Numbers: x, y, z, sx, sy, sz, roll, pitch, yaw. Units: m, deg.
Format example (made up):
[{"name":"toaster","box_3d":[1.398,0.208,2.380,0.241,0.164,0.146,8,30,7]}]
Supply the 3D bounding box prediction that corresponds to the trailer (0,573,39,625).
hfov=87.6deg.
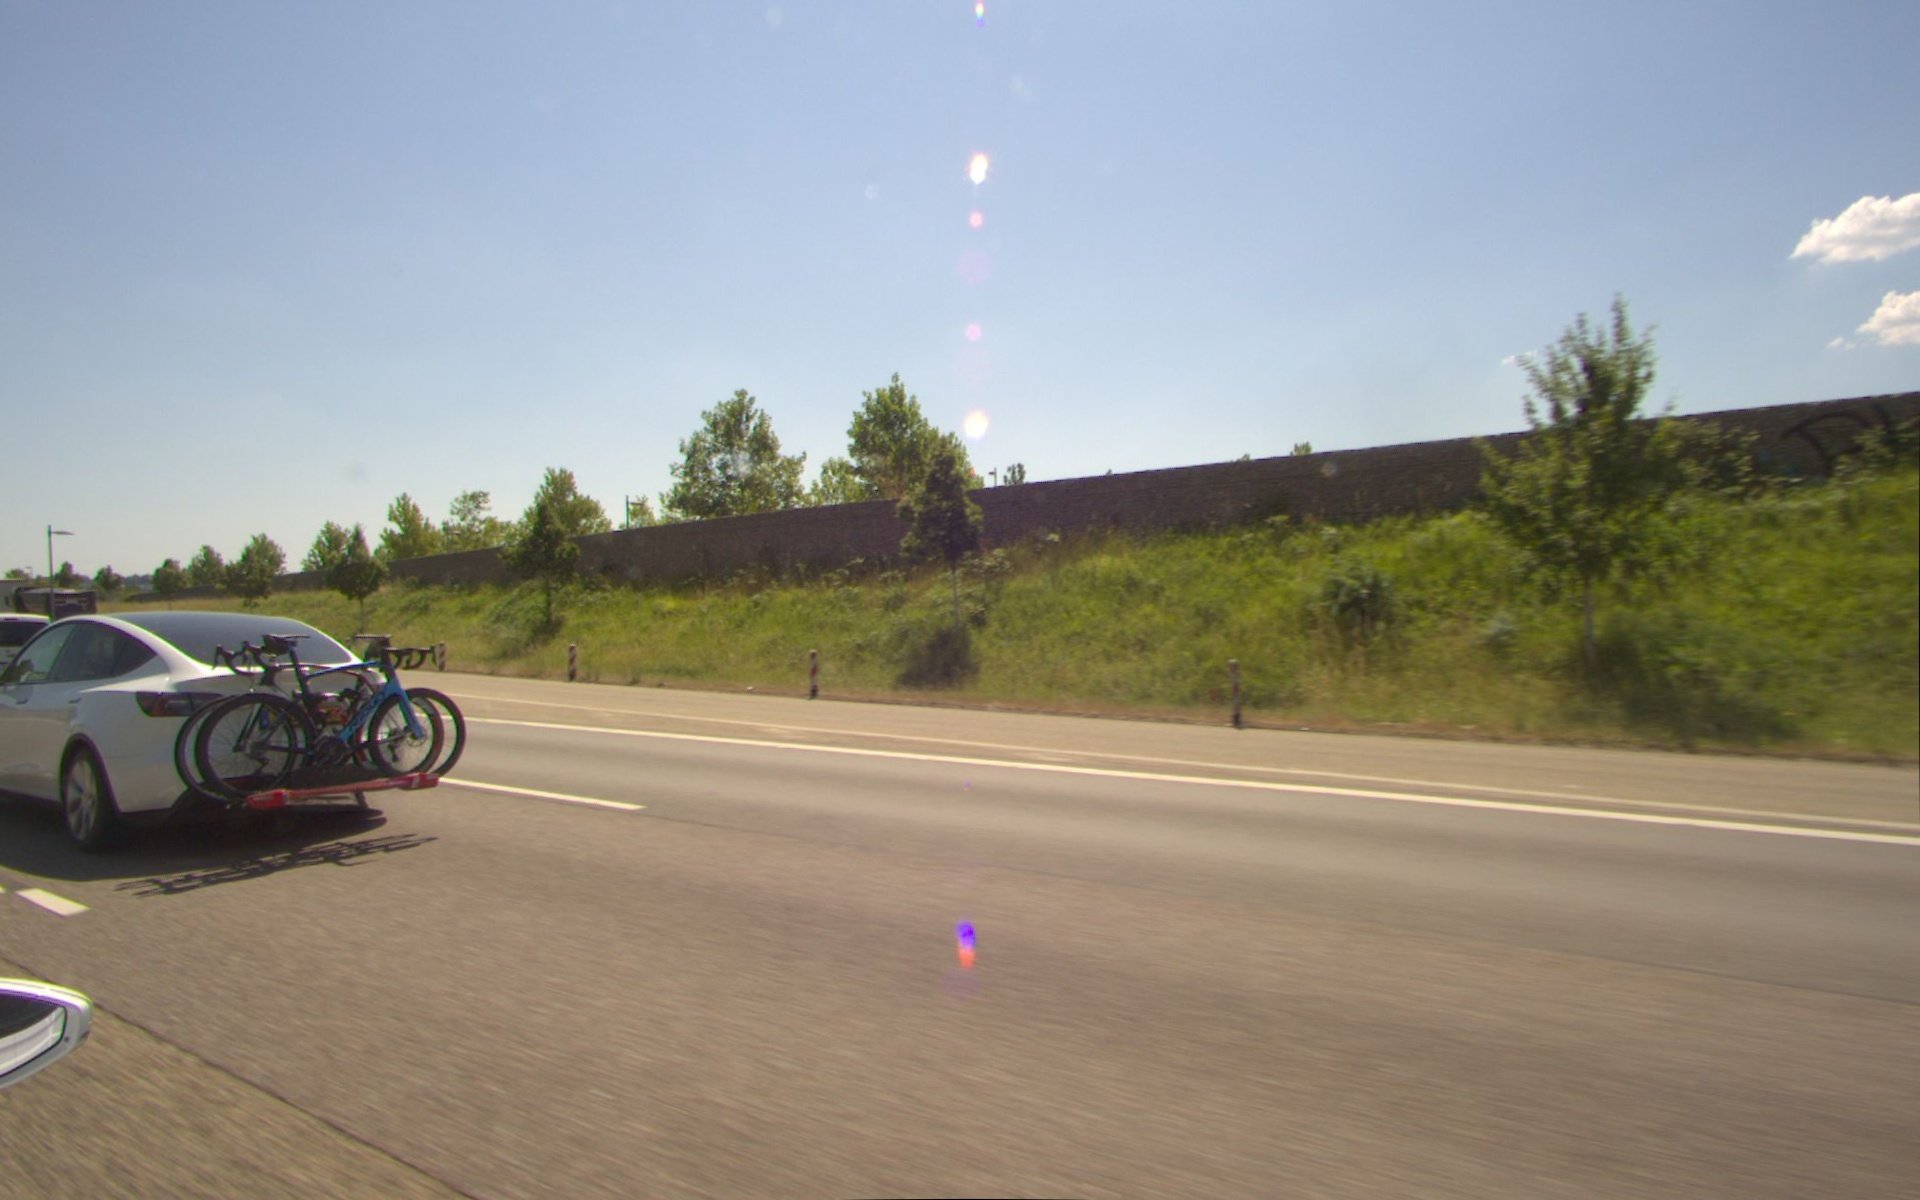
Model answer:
[{"name":"trailer","box_3d":[-81.434,0.013,83.817,14.059,4.135,3.046,-1,-2,34]}]

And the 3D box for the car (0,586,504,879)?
[{"name":"car","box_3d":[-6.204,0.814,7.985,5.520,1.657,1.948,-1,-2,32]}]

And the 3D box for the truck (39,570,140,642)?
[{"name":"truck","box_3d":[-55.480,0.526,63.646,12.388,4.135,3.767,-1,-2,44]}]

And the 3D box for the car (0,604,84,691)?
[{"name":"car","box_3d":[-22.197,1.053,22.985,4.117,1.862,1.947,-1,0,31]}]
